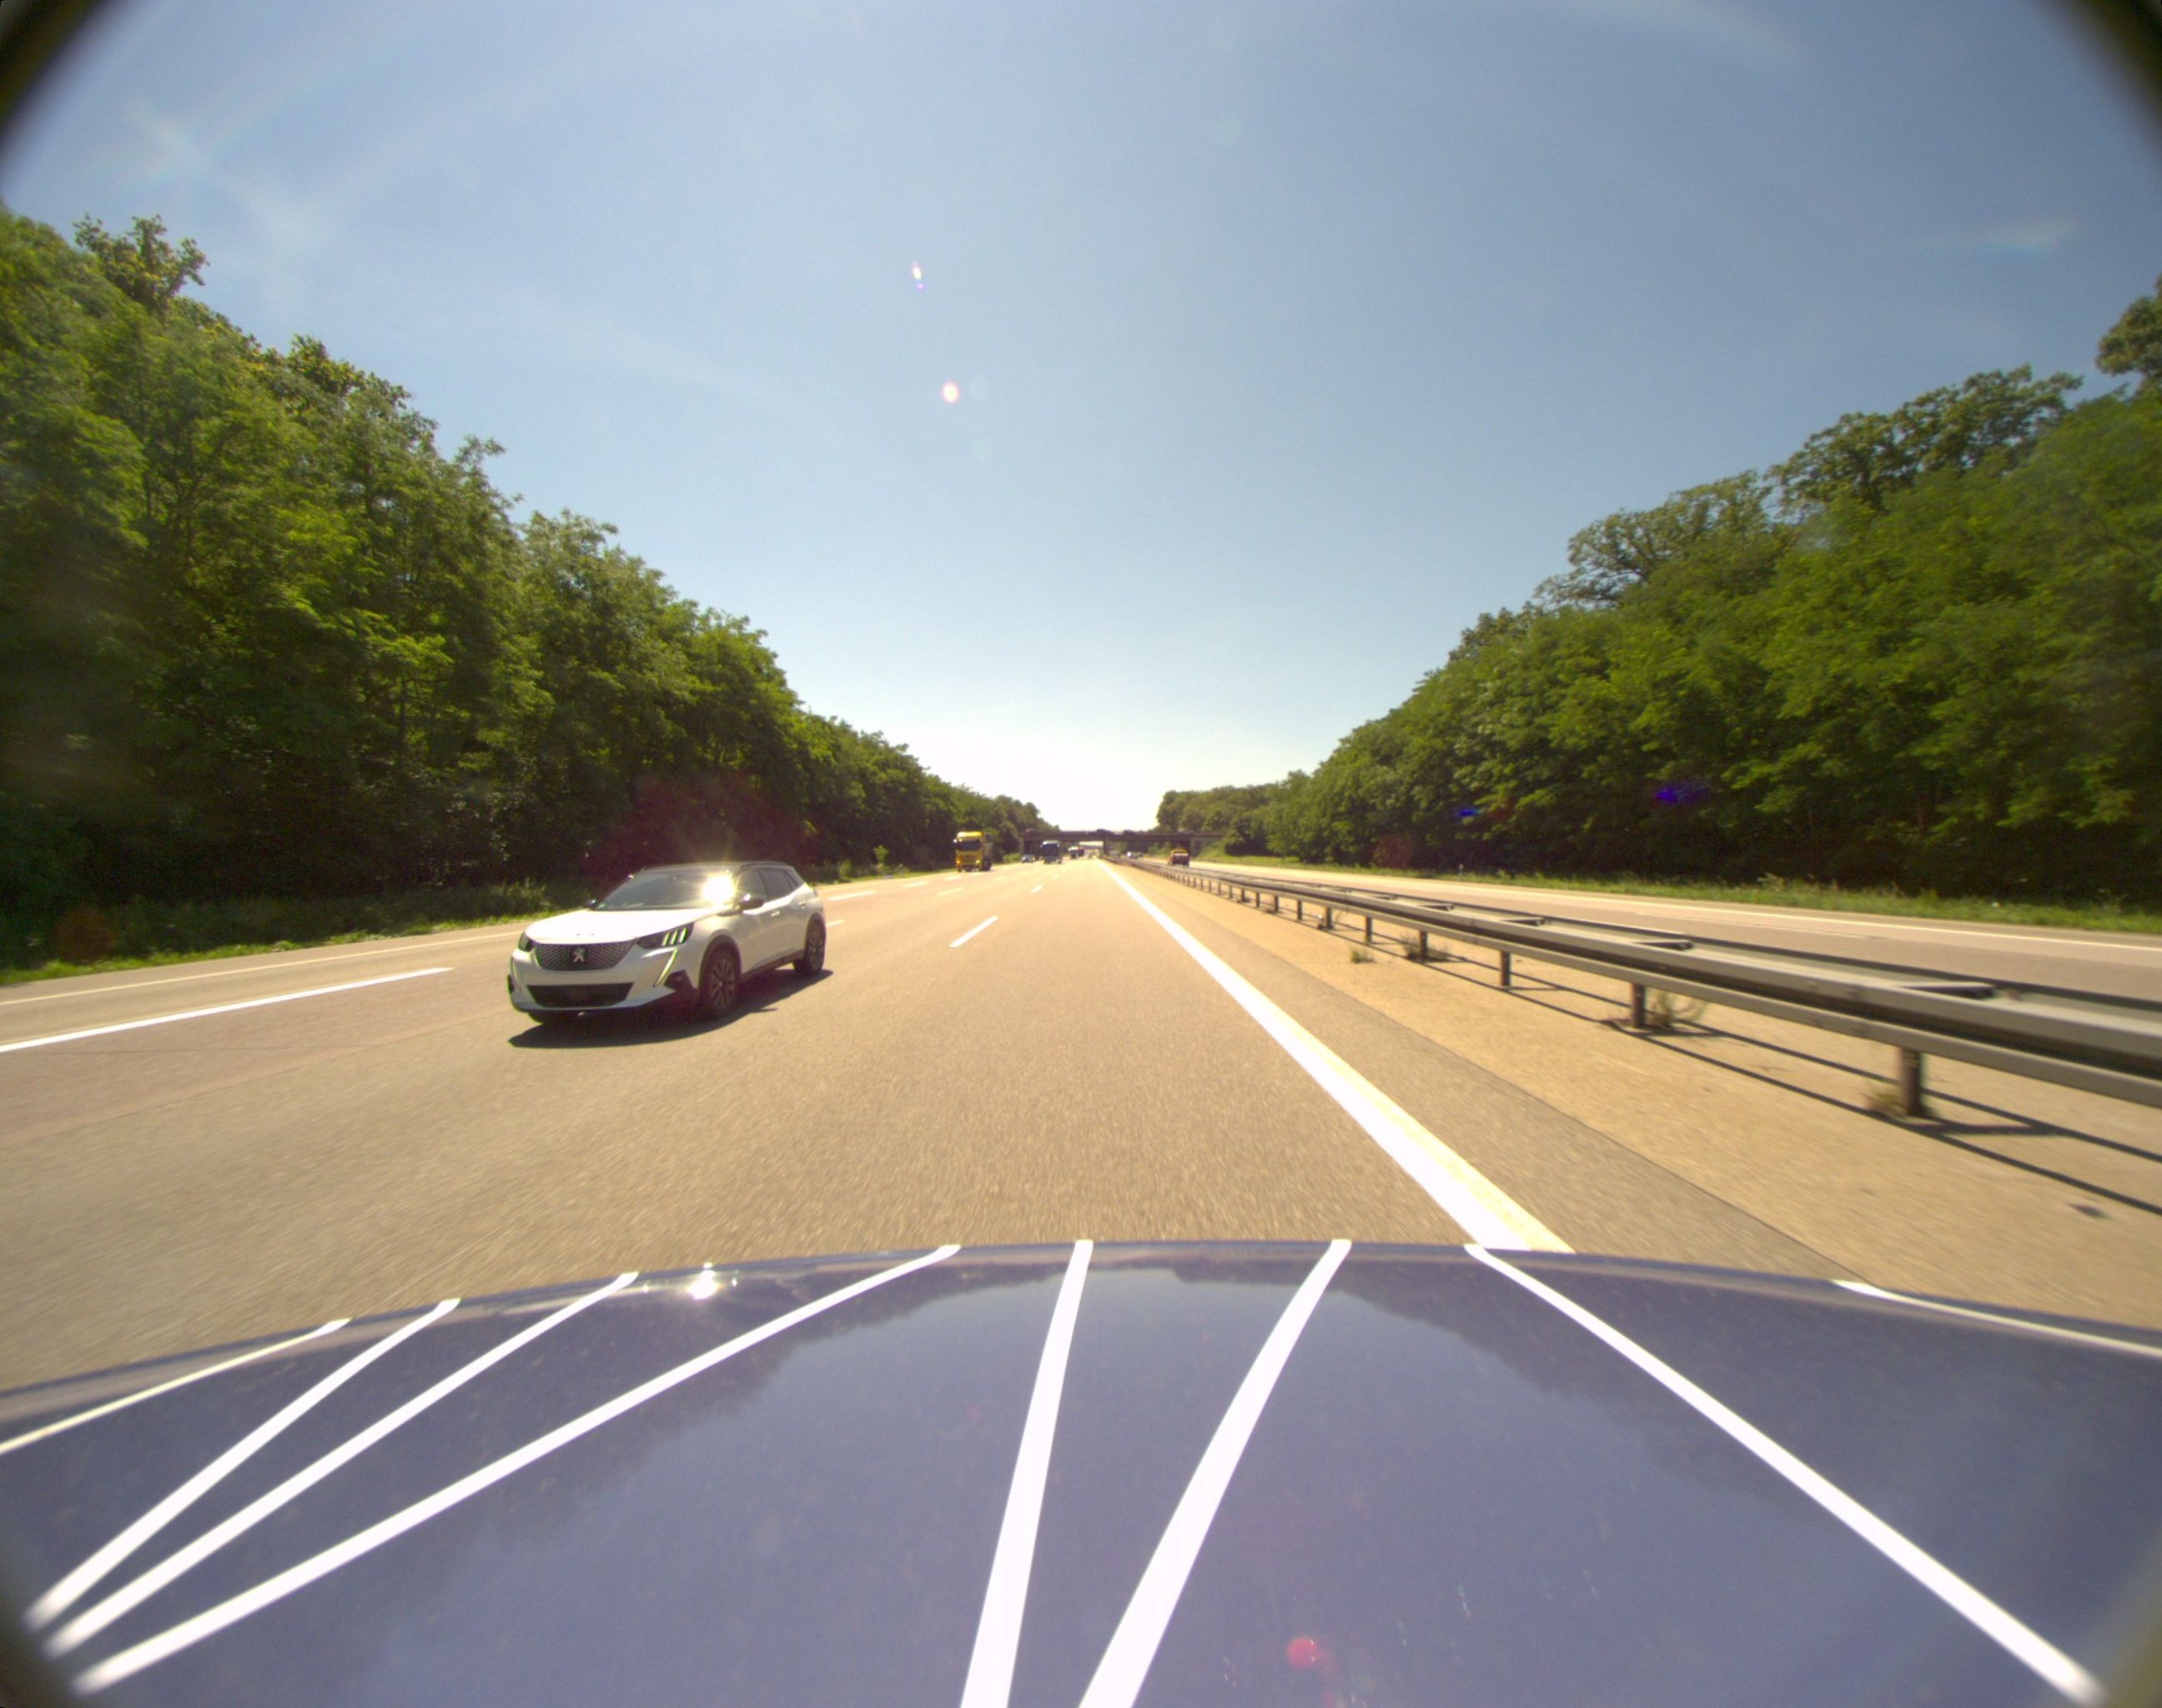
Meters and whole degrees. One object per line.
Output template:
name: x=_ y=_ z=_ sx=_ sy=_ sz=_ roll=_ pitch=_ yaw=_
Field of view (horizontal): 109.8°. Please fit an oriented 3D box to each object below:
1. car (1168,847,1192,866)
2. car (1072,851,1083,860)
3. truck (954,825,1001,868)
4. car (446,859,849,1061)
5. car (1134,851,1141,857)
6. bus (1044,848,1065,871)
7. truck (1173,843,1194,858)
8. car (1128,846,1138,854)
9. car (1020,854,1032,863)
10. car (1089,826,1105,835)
car: x=10.766 y=0.251 z=83.178 sx=1.998 sy=1.952 sz=5.211 roll=-2 pitch=0 yaw=1
car: x=-0.949 y=0.434 z=210.832 sx=2.616 sy=2.389 sz=7.123 roll=-2 pitch=0 yaw=0
truck: x=-10.758 y=-0.782 z=80.411 sx=2.982 sy=4.013 sz=10.981 roll=-3 pitch=0 yaw=2
car: x=-4.390 y=0.911 z=8.810 sx=1.831 sy=1.599 sz=4.808 roll=-1 pitch=0 yaw=1
car: x=16.282 y=0.035 z=219.139 sx=1.692 sy=1.535 sz=4.204 roll=-2 pitch=0 yaw=1
bus: x=-4.253 y=0.807 z=124.773 sx=2.617 sy=3.532 sz=13.681 roll=-2 pitch=0 yaw=1
truck: x=20.984 y=-0.698 z=156.799 sx=2.760 sy=2.973 sz=12.854 roll=0 pitch=0 yaw=1
car: x=12.262 y=-0.937 z=179.945 sx=1.998 sy=1.696 sz=5.265 roll=-2 pitch=-1 yaw=1
car: x=-10.187 y=0.777 z=141.540 sx=1.875 sy=1.547 sz=4.201 roll=-2 pitch=0 yaw=1
car: x=4.038 y=-6.015 z=195.809 sx=3.998 sy=2.002 sz=1.999 roll=-2 pitch=1 yaw=-2
